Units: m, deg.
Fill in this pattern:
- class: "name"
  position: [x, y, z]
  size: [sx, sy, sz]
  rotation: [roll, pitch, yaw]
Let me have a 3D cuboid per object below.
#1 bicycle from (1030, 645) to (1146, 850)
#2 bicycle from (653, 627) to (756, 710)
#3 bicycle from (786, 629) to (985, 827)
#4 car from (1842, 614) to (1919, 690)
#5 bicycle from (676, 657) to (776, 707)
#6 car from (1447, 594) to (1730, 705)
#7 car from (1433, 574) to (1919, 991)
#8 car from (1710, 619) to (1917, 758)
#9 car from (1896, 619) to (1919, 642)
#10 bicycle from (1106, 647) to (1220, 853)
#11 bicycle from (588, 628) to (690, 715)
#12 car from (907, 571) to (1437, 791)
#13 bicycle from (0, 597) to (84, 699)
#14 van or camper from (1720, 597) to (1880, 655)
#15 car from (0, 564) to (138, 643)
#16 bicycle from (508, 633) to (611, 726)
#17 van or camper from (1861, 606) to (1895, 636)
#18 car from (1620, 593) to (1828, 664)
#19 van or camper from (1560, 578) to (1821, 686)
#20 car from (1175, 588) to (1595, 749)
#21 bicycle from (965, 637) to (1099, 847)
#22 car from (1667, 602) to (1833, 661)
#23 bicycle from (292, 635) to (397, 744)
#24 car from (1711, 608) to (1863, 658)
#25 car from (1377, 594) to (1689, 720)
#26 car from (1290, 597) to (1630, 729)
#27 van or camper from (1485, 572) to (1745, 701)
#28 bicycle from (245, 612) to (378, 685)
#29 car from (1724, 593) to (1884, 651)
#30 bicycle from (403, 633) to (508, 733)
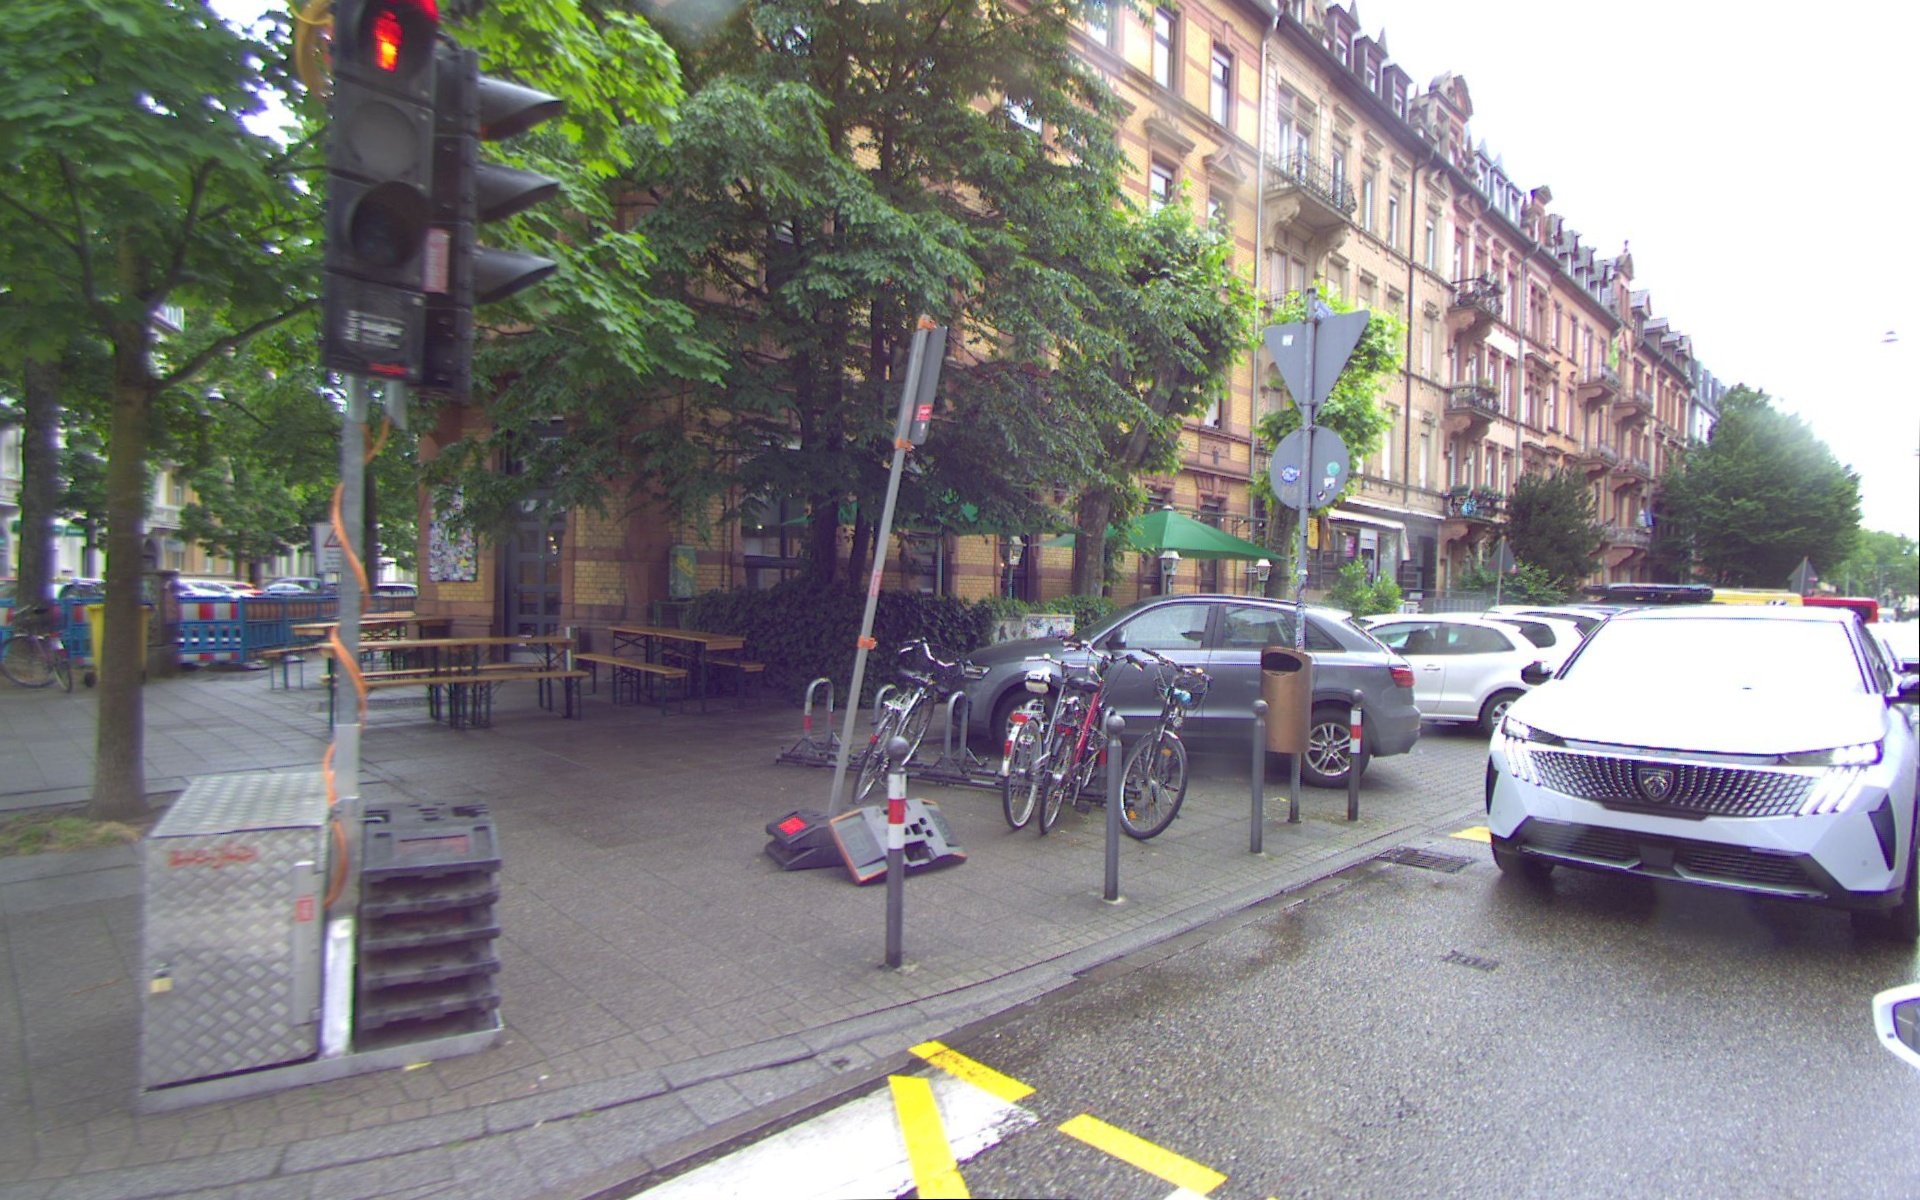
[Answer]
- class: "bicycle"
  position: [0.924, 0.928, 6.913]
  size: [0.391, 1.159, 1.682]
  rotation: [2, 0, 20]
- class: "bicycle"
  position: [-2.893, 0.746, 11.316]
  size: [1.374, 0.826, 0.403]
  rotation: [2, 0, 42]
- class: "bicycle"
  position: [-0.459, 0.825, 7.260]
  size: [0.761, 1.159, 1.932]
  rotation: [2, 0, 17]
- class: "car"
  position: [23.254, 1.237, 24.802]
  size: [4.551, 1.514, 1.777]
  rotation: [-1, 5, -44]
- class: "bicycle"
  position: [-2.724, 0.933, 11.615]
  size: [1.374, 0.459, 0.403]
  rotation: [2, 0, 42]
- class: "car"
  position: [11.670, 0.882, 18.937]
  size: [4.054, 1.684, 1.802]
  rotation: [4, 0, 9]
- class: "car"
  position: [4.964, 0.771, 6.456]
  size: [4.974, 1.682, 1.840]
  rotation: [1, -1, -44]
- class: "car"
  position: [11.183, 1.060, 13.058]
  size: [1.777, 1.513, 4.113]
  rotation: [-1, -3, 44]
- class: "car"
  position: [68.448, 2.178, 72.197]
  size: [1.651, 1.580, 3.981]
  rotation: [1, 0, 42]
- class: "bicycle"
  position: [1.453, 0.952, 6.980]
  size: [0.575, 1.159, 1.682]
  rotation: [2, 0, 17]
- class: "bicycle"
  position: [-3.479, 0.743, 10.832]
  size: [1.374, 0.826, 0.403]
  rotation: [2, 1, 42]
- class: "car"
  position: [1.879, 0.671, 9.581]
  size: [4.368, 1.584, 2.001]
  rotation: [3, 0, 9]
- class: "bicycle"
  position: [-11.297, 0.532, 12.264]
  size: [2.379, 1.106, 0.738]
  rotation: [1, 0, 45]
- class: "van or camper"
  position: [37.628, 1.122, 45.189]
  size: [4.926, 2.381, 2.344]
  rotation: [1, 1, 19]
- class: "car"
  position: [-22.835, 0.044, 25.441]
  size: [1.816, 1.821, 4.364]
  rotation: [0, 1, -21]
- class: "bicycle"
  position: [-4.127, 0.790, 10.308]
  size: [1.374, 0.826, 0.403]
  rotation: [2, 1, 42]
- class: "van or camper"
  position: [88.336, 2.060, 96.624]
  size: [2.100, 2.563, 6.833]
  rotation: [-4, -5, 44]
- class: "car"
  position: [25.290, 0.909, 33.505]
  size: [5.150, 2.106, 1.870]
  rotation: [2, 0, 21]
- class: "van or camper"
  position: [17.938, 0.703, 24.945]
  size: [4.631, 2.298, 2.186]
  rotation: [3, 2, 13]
- class: "car"
  position: [5.207, 0.775, 13.026]
  size: [4.629, 1.584, 2.001]
  rotation: [3, 2, 11]
- class: "bicycle"
  position: [0.557, 0.891, 6.993]
  size: [0.391, 1.201, 1.877]
  rotation: [2, 0, 20]
- class: "car"
  position: [29.222, 1.112, 37.233]
  size: [4.531, 1.809, 2.529]
  rotation: [5, 3, 45]
- class: "bicycle"
  position: [-5.454, 0.761, 8.871]
  size: [1.374, 0.826, 0.403]
  rotation: [2, 1, 42]
- class: "car"
  position: [33.883, 1.314, 41.309]
  size: [4.358, 1.652, 1.844]
  rotation: [4, 2, 19]
- class: "car"
  position: [9.387, 0.885, 16.780]
  size: [4.054, 1.684, 1.802]
  rotation: [4, 1, 9]
- class: "car"
  position: [7.144, 0.857, 14.781]
  size: [4.054, 1.513, 1.802]
  rotation: [4, 0, 10]
- class: "van or camper"
  position: [13.484, 0.708, 20.951]
  size: [4.002, 2.269, 1.938]
  rotation: [4, 0, 13]
- class: "bicycle"
  position: [-8.011, 0.589, 12.413]
  size: [1.515, 0.826, 0.406]
  rotation: [2, 0, 11]
- class: "car"
  position: [41.127, 1.024, 49.113]
  size: [5.462, 2.575, 2.229]
  rotation: [1, 1, 18]
- class: "bicycle"
  position: [-4.811, 0.760, 9.542]
  size: [1.374, 0.826, 0.403]
  rotation: [2, 1, 42]
